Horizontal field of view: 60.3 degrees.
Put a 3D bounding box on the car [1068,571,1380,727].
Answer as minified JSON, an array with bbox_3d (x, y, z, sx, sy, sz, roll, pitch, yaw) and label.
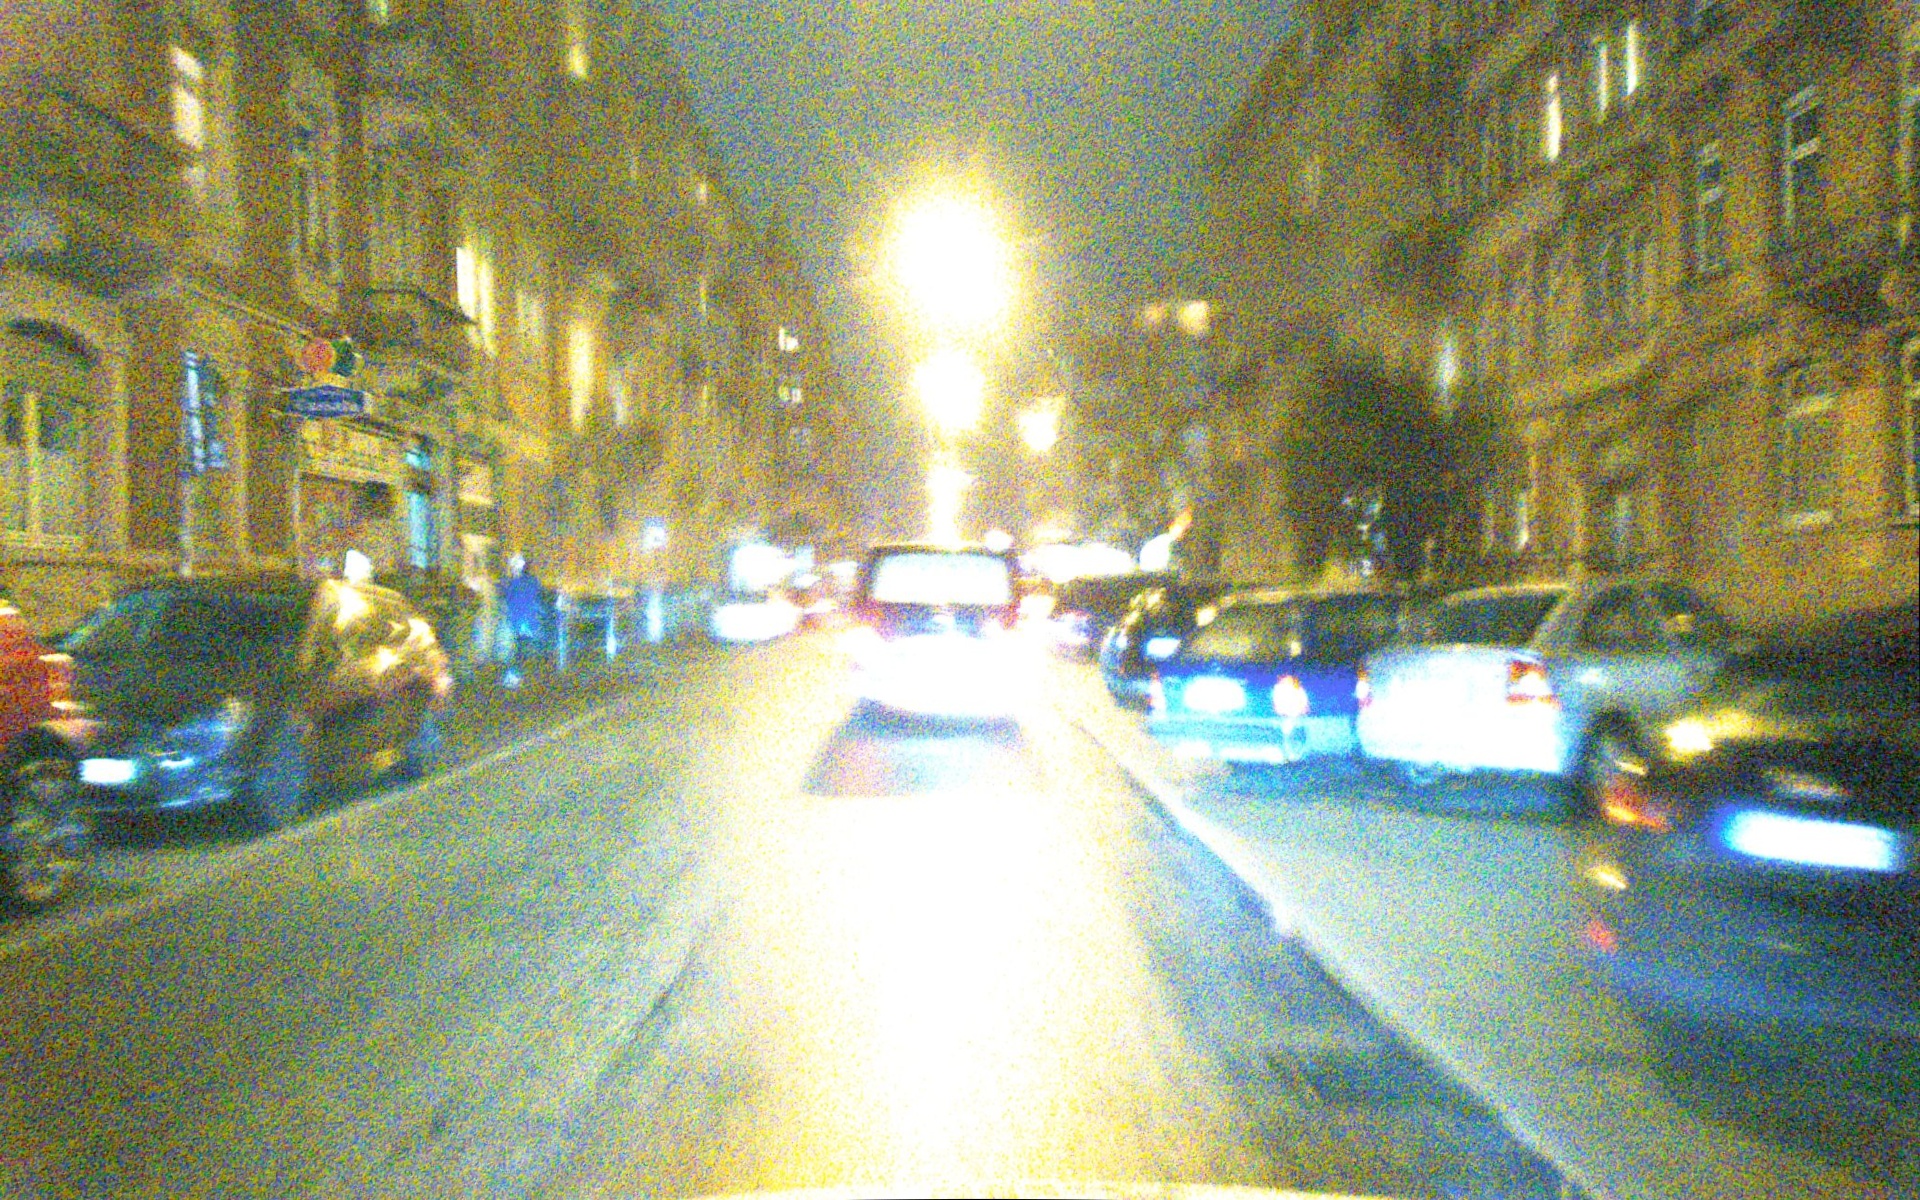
[{"bbox_3d":[3.071,0.492,18.906,3.620,1.608,1.569,0,1,-40],"label":"car"}]

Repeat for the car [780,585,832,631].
[{"bbox_3d":[-5.533,0.260,59.734,1.777,1.584,4.073,1,0,-4],"label":"car"}]

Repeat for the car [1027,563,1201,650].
[{"bbox_3d":[3.426,0.133,36.651,3.517,1.741,1.630,-2,0,-30],"label":"car"}]

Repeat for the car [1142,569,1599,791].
[{"bbox_3d":[3.343,0.543,13.221,3.643,1.486,1.584,-2,0,-36],"label":"car"}]

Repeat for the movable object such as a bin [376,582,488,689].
[{"bbox_3d":[-7.479,0.492,23.501,1.117,1.444,1.248,2,0,1],"label":"movable object such as a bin"}]

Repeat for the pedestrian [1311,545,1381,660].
[{"bbox_3d":[6.577,0.042,28.223,0.851,1.888,0.992,-2,0,-3],"label":"pedestrian"}]

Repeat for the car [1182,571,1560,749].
[{"bbox_3d":[4.131,0.529,16.525,3.602,1.608,1.577,0,0,-30],"label":"car"}]

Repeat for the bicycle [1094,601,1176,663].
[{"bbox_3d":[3.258,0.584,30.906,0.513,1.094,1.808,-2,1,-32],"label":"bicycle"}]

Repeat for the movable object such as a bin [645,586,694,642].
[{"bbox_3d":[-7.647,0.355,43.582,1.026,1.423,1.158,2,0,1],"label":"movable object such as a bin"}]

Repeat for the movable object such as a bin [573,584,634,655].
[{"bbox_3d":[-7.406,0.404,34.393,0.954,1.423,1.133,2,0,2],"label":"movable object such as a bin"}]

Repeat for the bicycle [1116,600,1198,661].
[{"bbox_3d":[3.706,0.564,31.199,0.513,1.094,1.808,-2,1,-32],"label":"bicycle"}]

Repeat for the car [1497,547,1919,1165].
[{"bbox_3d":[3.822,0.617,5.696,3.956,1.579,1.781,-1,0,-36],"label":"car"}]

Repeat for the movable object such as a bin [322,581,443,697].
[{"bbox_3d":[-7.560,0.494,21.721,1.117,1.444,1.154,2,0,1],"label":"movable object such as a bin"}]

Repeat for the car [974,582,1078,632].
[{"bbox_3d":[2.401,0.246,59.751,3.529,1.618,1.584,-3,0,-38],"label":"car"}]

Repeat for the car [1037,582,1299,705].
[{"bbox_3d":[2.980,0.585,23.442,3.614,1.608,1.572,1,0,-37],"label":"car"}]

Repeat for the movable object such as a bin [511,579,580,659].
[{"bbox_3d":[-7.744,0.342,30.949,0.954,1.444,1.133,2,0,2],"label":"movable object such as a bin"}]

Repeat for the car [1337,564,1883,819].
[{"bbox_3d":[4.635,0.525,11.606,3.954,1.477,1.667,-1,0,-35],"label":"car"}]

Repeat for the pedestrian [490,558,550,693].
[{"bbox_3d":[-6.214,0.354,23.397,0.579,1.852,0.794,2,0,-1],"label":"pedestrian"}]

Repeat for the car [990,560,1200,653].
[{"bbox_3d":[3.224,0.116,39.316,4.737,2.084,2.044,-1,1,-32],"label":"car"}]

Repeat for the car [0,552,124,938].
[{"bbox_3d":[-4.683,0.595,5.738,1.571,1.579,4.024,1,1,-1],"label":"car"}]

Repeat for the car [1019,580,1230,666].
[{"bbox_3d":[3.336,0.433,33.410,3.941,1.518,1.719,-2,0,-27],"label":"car"}]

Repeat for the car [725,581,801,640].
[{"bbox_3d":[-5.224,0.255,44.244,1.554,1.508,3.793,1,0,0],"label":"car"}]

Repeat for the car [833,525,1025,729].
[{"bbox_3d":[-0.345,0.292,18.944,1.953,2.086,3.999,0,0,-1],"label":"car"}]

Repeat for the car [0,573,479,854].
[{"bbox_3d":[-4.635,0.580,11.026,1.652,1.481,4.314,1,1,-1],"label":"car"}]
